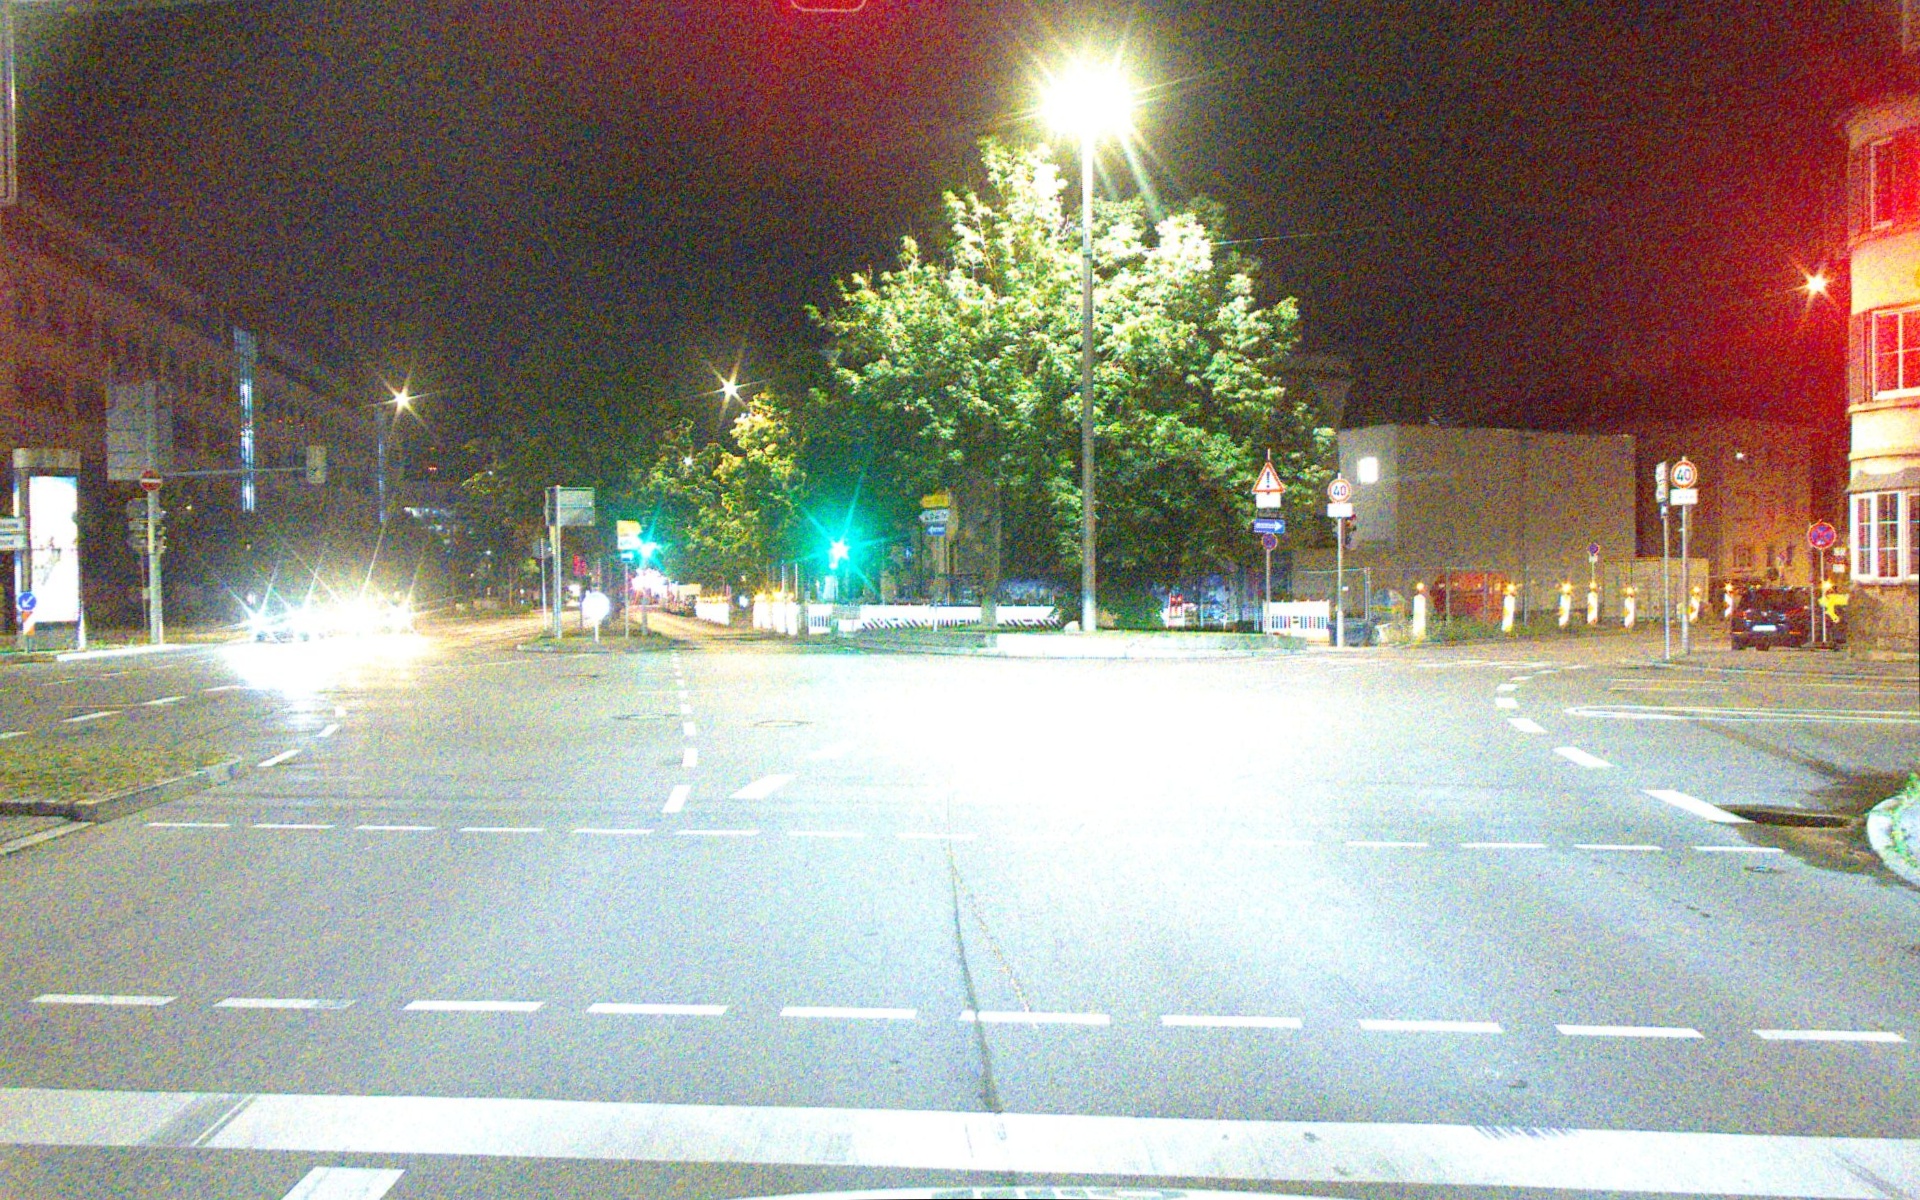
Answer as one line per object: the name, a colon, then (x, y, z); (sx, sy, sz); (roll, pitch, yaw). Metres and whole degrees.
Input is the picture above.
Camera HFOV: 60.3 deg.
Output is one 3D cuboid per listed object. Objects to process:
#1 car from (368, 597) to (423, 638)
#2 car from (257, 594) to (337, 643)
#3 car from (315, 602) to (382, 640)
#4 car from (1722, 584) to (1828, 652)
car: (-24.626, 0.751, 72.304); (1.726, 1.758, 3.539); (0, 0, -10)
car: (-21.750, 0.615, 54.370); (1.586, 1.541, 3.991); (0, 0, -9)
car: (-22.791, 0.780, 61.777); (1.726, 1.345, 3.539); (0, 0, -10)
car: (20.587, 0.445, 41.733); (1.700, 1.640, 3.607); (-1, -1, 38)
